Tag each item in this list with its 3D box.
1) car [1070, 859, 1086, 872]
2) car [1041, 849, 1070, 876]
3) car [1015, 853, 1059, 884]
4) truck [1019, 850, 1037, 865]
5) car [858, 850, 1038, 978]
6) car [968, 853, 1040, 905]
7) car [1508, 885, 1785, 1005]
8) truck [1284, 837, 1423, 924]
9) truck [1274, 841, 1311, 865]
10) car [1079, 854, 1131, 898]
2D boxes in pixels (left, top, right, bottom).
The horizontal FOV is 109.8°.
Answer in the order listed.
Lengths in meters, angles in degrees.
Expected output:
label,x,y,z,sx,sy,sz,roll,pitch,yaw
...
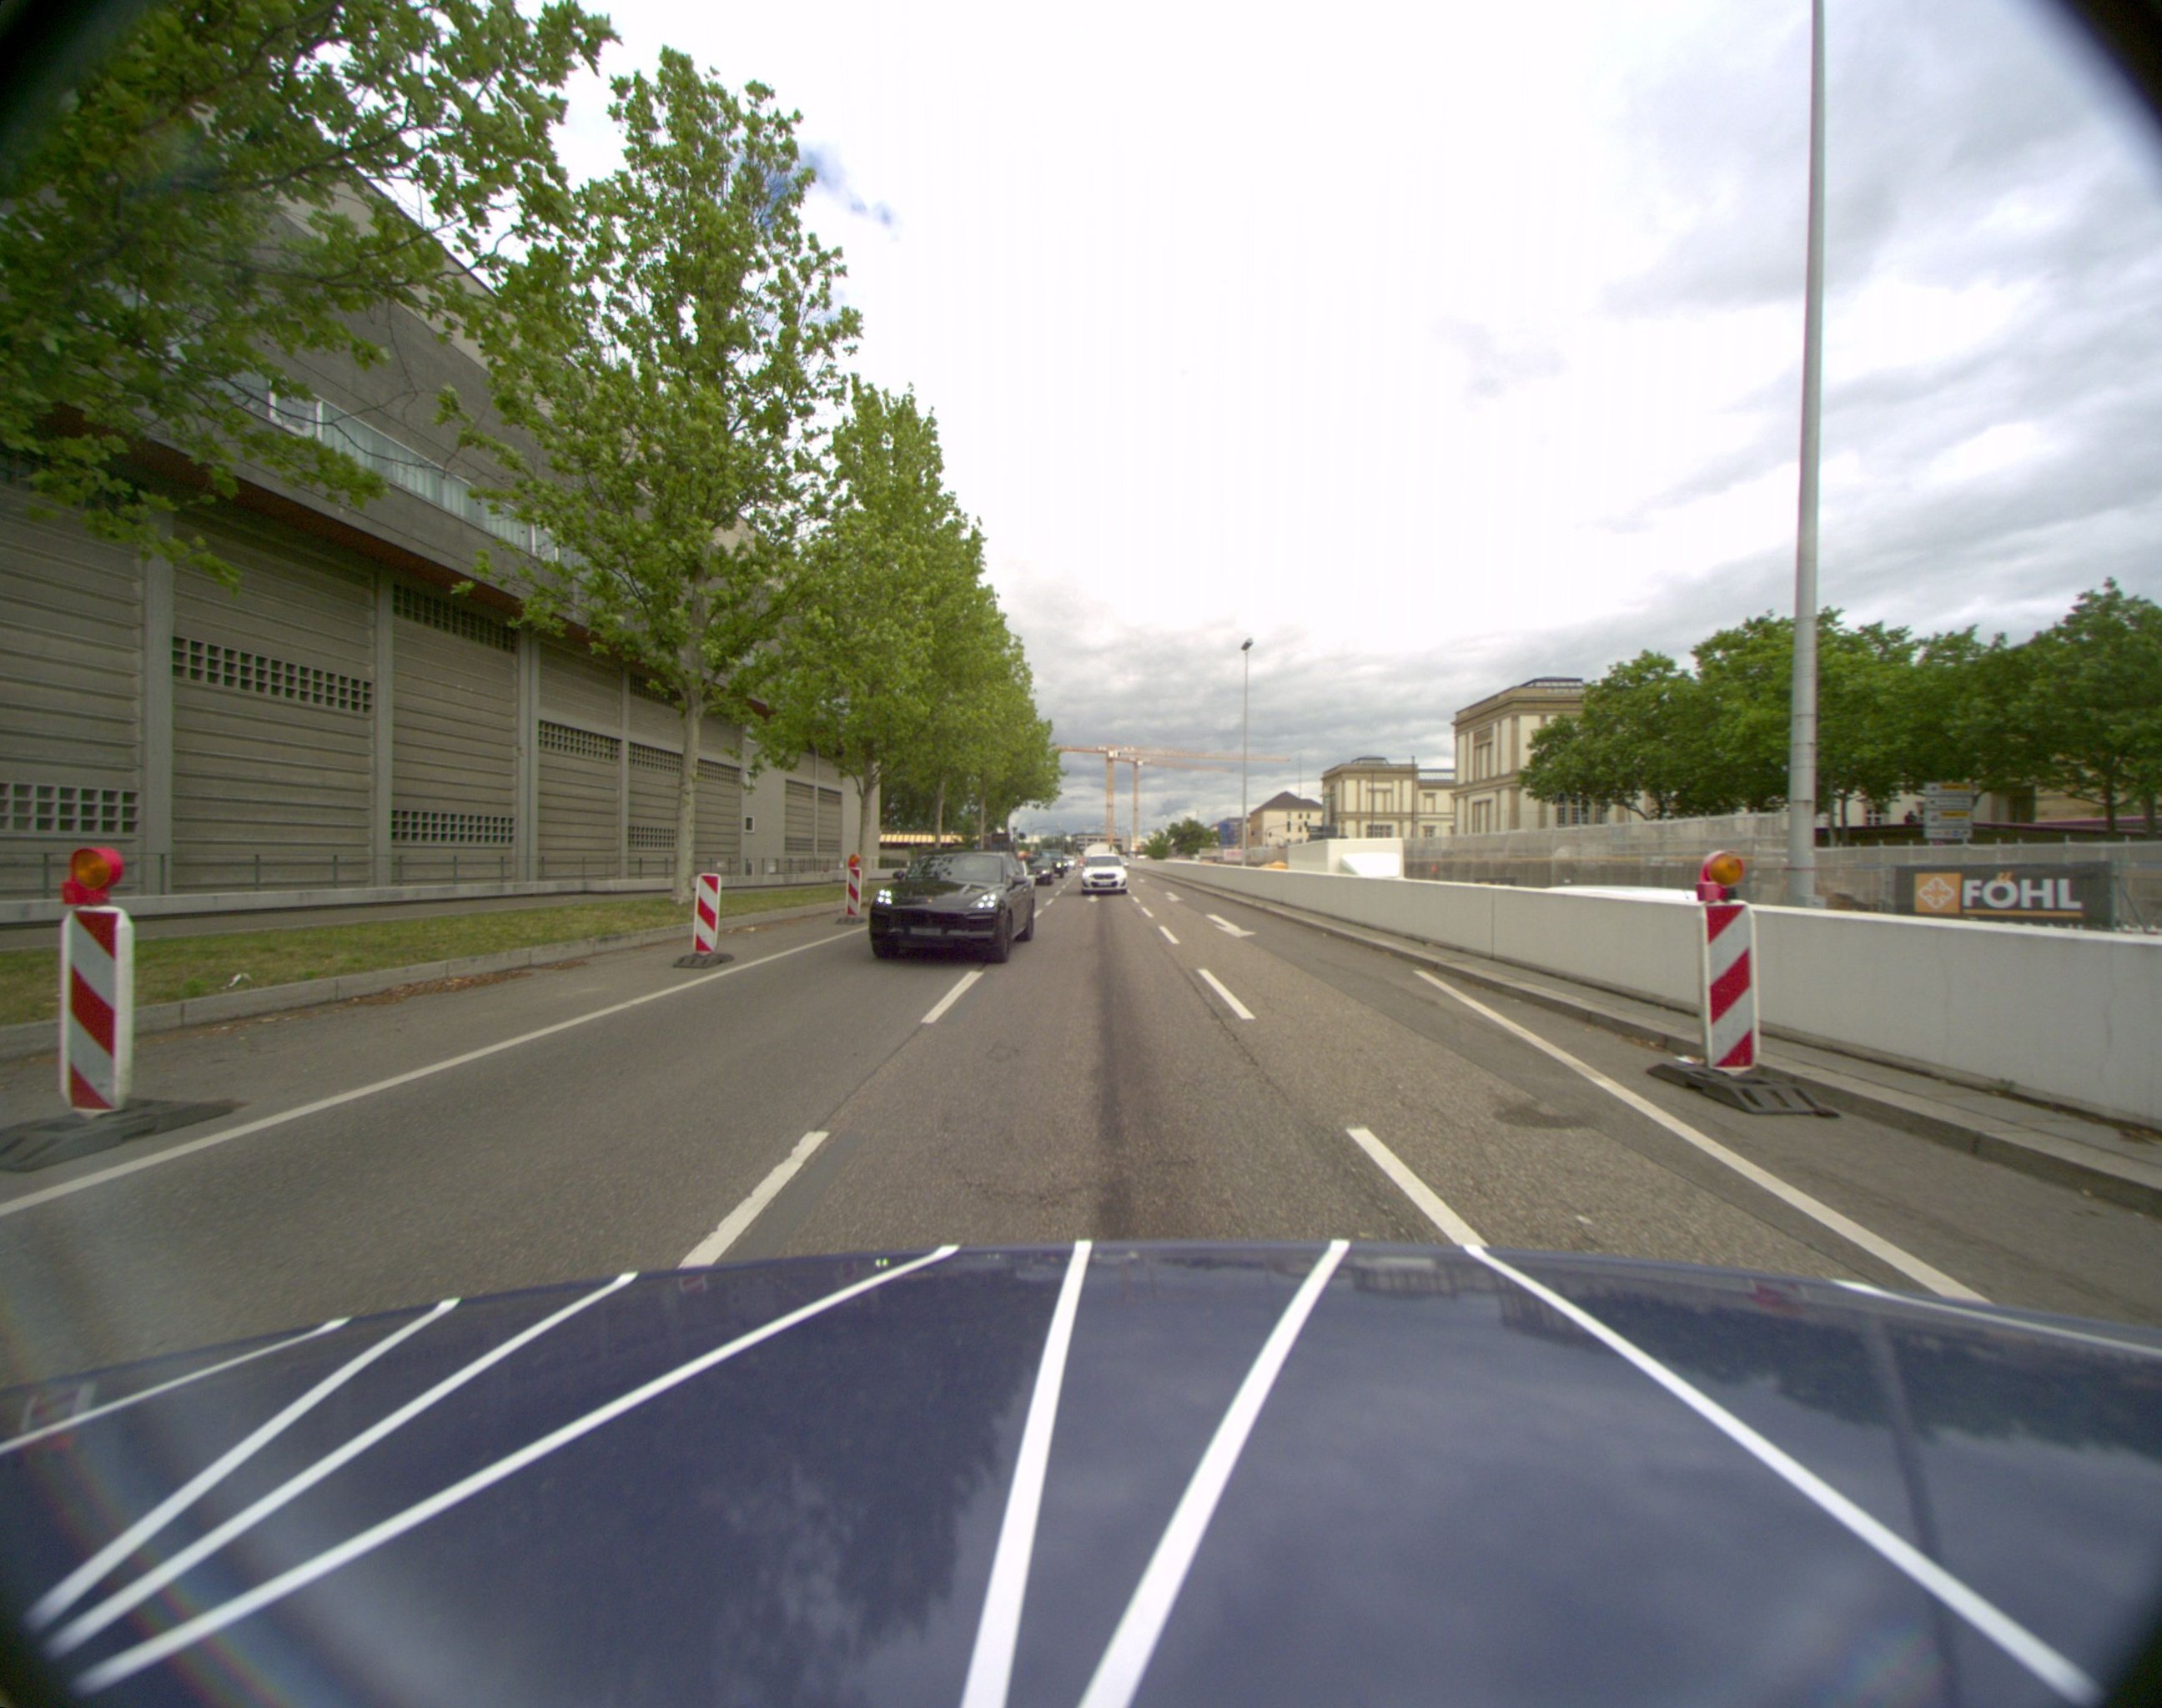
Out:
label,x,y,z,sx,sy,sz,roll,pitch,yaw
car,-0.351,1.465,98.967,1.998,1.632,4.000,1,0,1
car,-1.786,0.607,53.789,1.812,1.815,3.773,1,0,2
car,-2.265,0.730,40.508,1.955,1.499,4.270,3,0,1
truck,-13.739,0.964,195.764,2.913,3.653,9.015,1,0,-15
car,-1.933,0.794,12.574,1.955,1.638,4.608,0,1,3
car,-2.545,0.785,26.104,1.956,1.499,4.270,3,0,0
car,9.722,1.463,13.557,1.998,1.632,4.000,1,0,1
truck,9.458,0.913,27.212,2.609,2.695,6.676,1,-1,1
truck,37.911,-0.079,136.944,2.924,4.058,16.620,1,-1,3
car,0.885,0.847,30.309,1.812,1.595,3.712,-2,-1,-2
